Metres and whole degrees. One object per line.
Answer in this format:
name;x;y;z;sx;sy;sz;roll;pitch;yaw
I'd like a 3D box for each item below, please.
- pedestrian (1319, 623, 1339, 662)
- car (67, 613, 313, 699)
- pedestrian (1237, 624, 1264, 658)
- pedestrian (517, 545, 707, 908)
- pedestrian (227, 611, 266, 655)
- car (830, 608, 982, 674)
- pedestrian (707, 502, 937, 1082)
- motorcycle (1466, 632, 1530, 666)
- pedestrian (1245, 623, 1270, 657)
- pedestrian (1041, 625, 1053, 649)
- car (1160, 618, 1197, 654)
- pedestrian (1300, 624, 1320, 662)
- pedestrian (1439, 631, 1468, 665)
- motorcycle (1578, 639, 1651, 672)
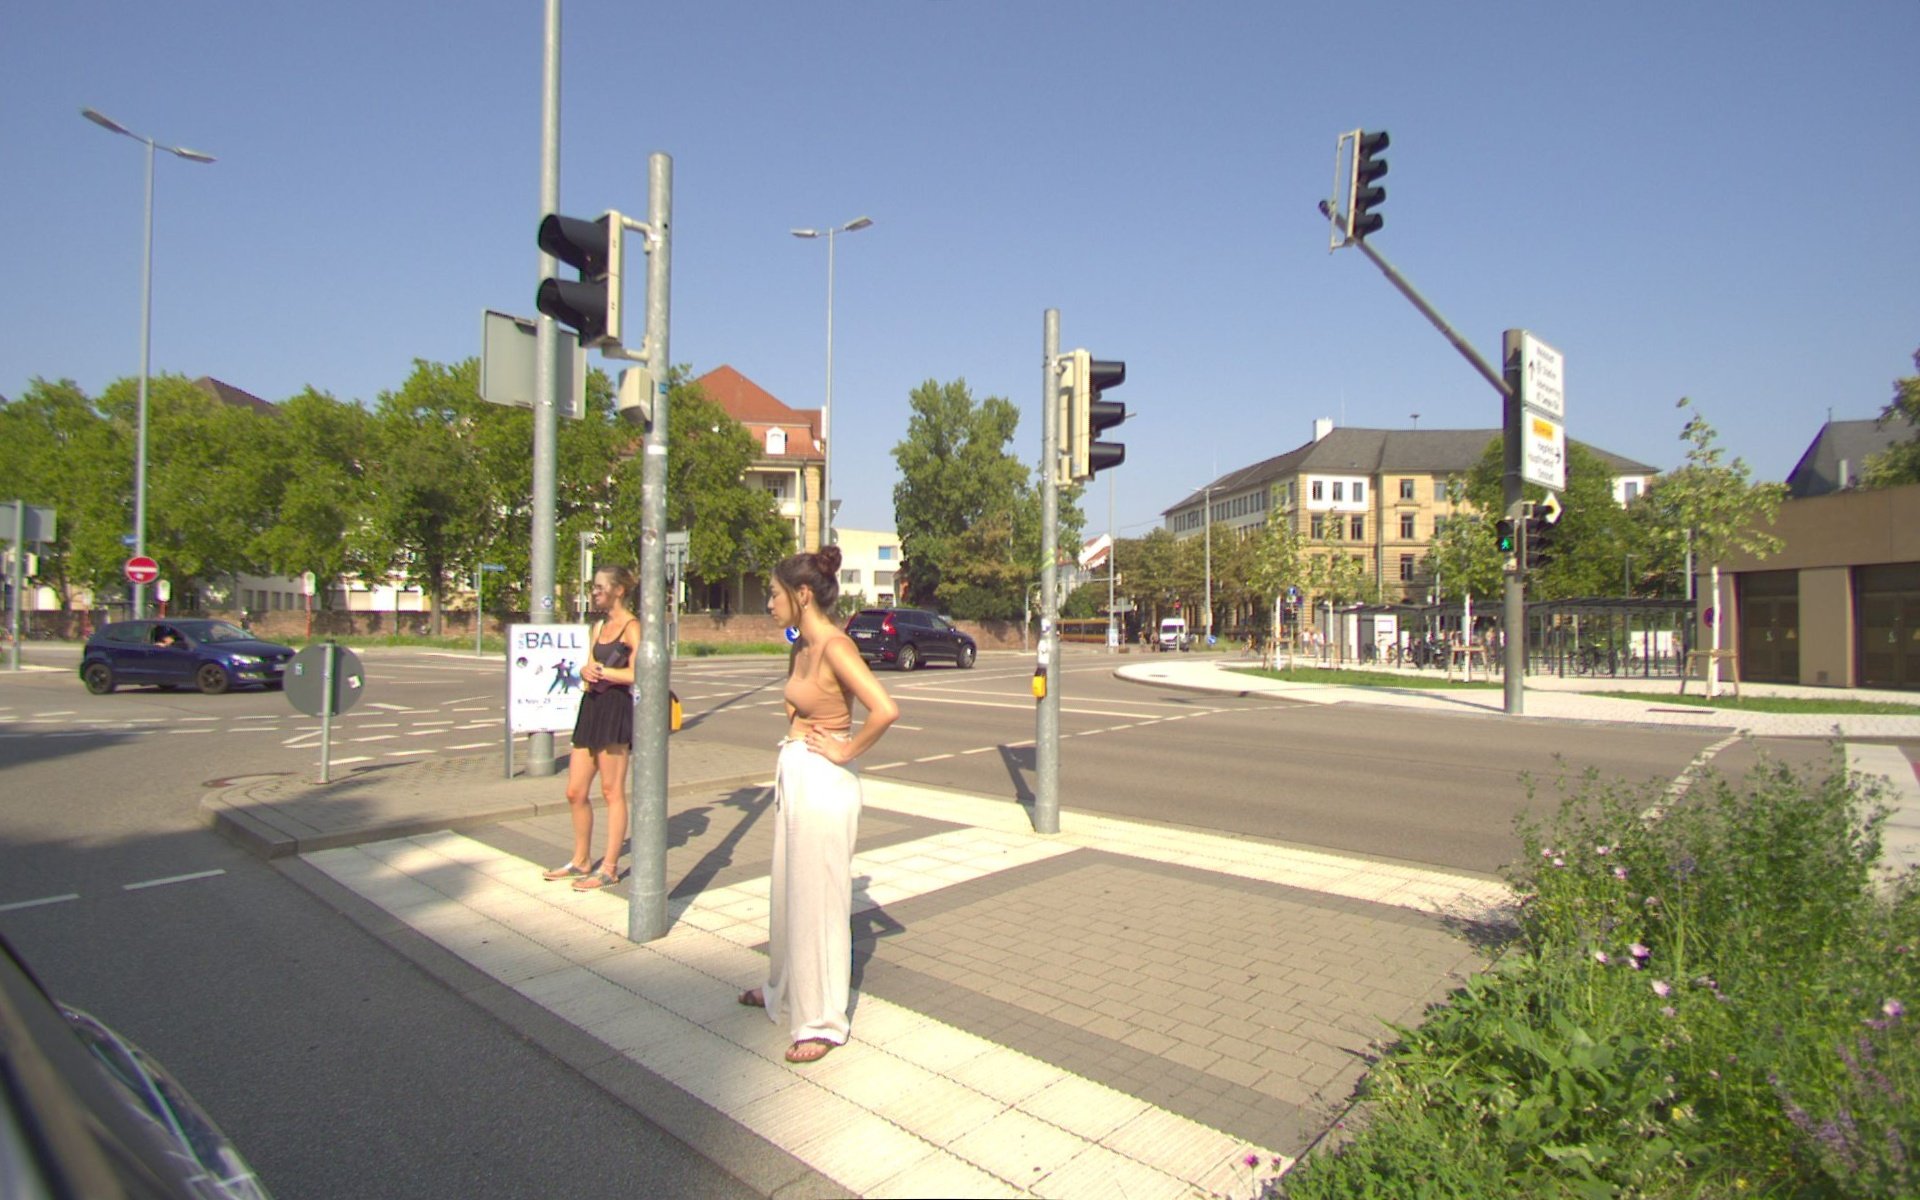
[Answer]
pedestrian;19.500;2.219;53.481;0.854;2.029;1.003;0;-2;13
car;-14.944;1.070;19.721;3.805;1.509;1.622;-2;0;8
pedestrian;17.171;2.419;59.838;1.207;2.029;1.329;-1;-2;30
pedestrian;-1.808;0.609;5.266;0.691;1.712;0.659;-2;-3;42
pedestrian;-33.888;1.567;48.066;1.315;2.029;1.067;-1;-1;33
car;-1.397;1.101;27.839;1.995;1.646;4.321;-1;-2;34
pedestrian;-0.477;0.563;3.375;0.658;1.667;0.781;1;-2;-12
motorcycle;23.962;2.184;45.163;0.776;1.460;2.778;1;-2;-17
pedestrian;18.073;2.400;61.498;1.207;2.029;1.329;-1;-2;30
pedestrian;7.427;3.152;86.822;0.815;2.029;0.812;-1;0;19
car;16.880;2.736;78.022;1.986;2.470;5.513;-1;0;21
pedestrian;18.526;2.274;53.596;0.854;2.029;1.003;0;-2;13
pedestrian;26.081;2.521;53.502;0.847;1.774;1.010;1;-2;-23
motorcycle;25.153;2.105;38.962;0.746;1.214;2.382;1;-2;-18
